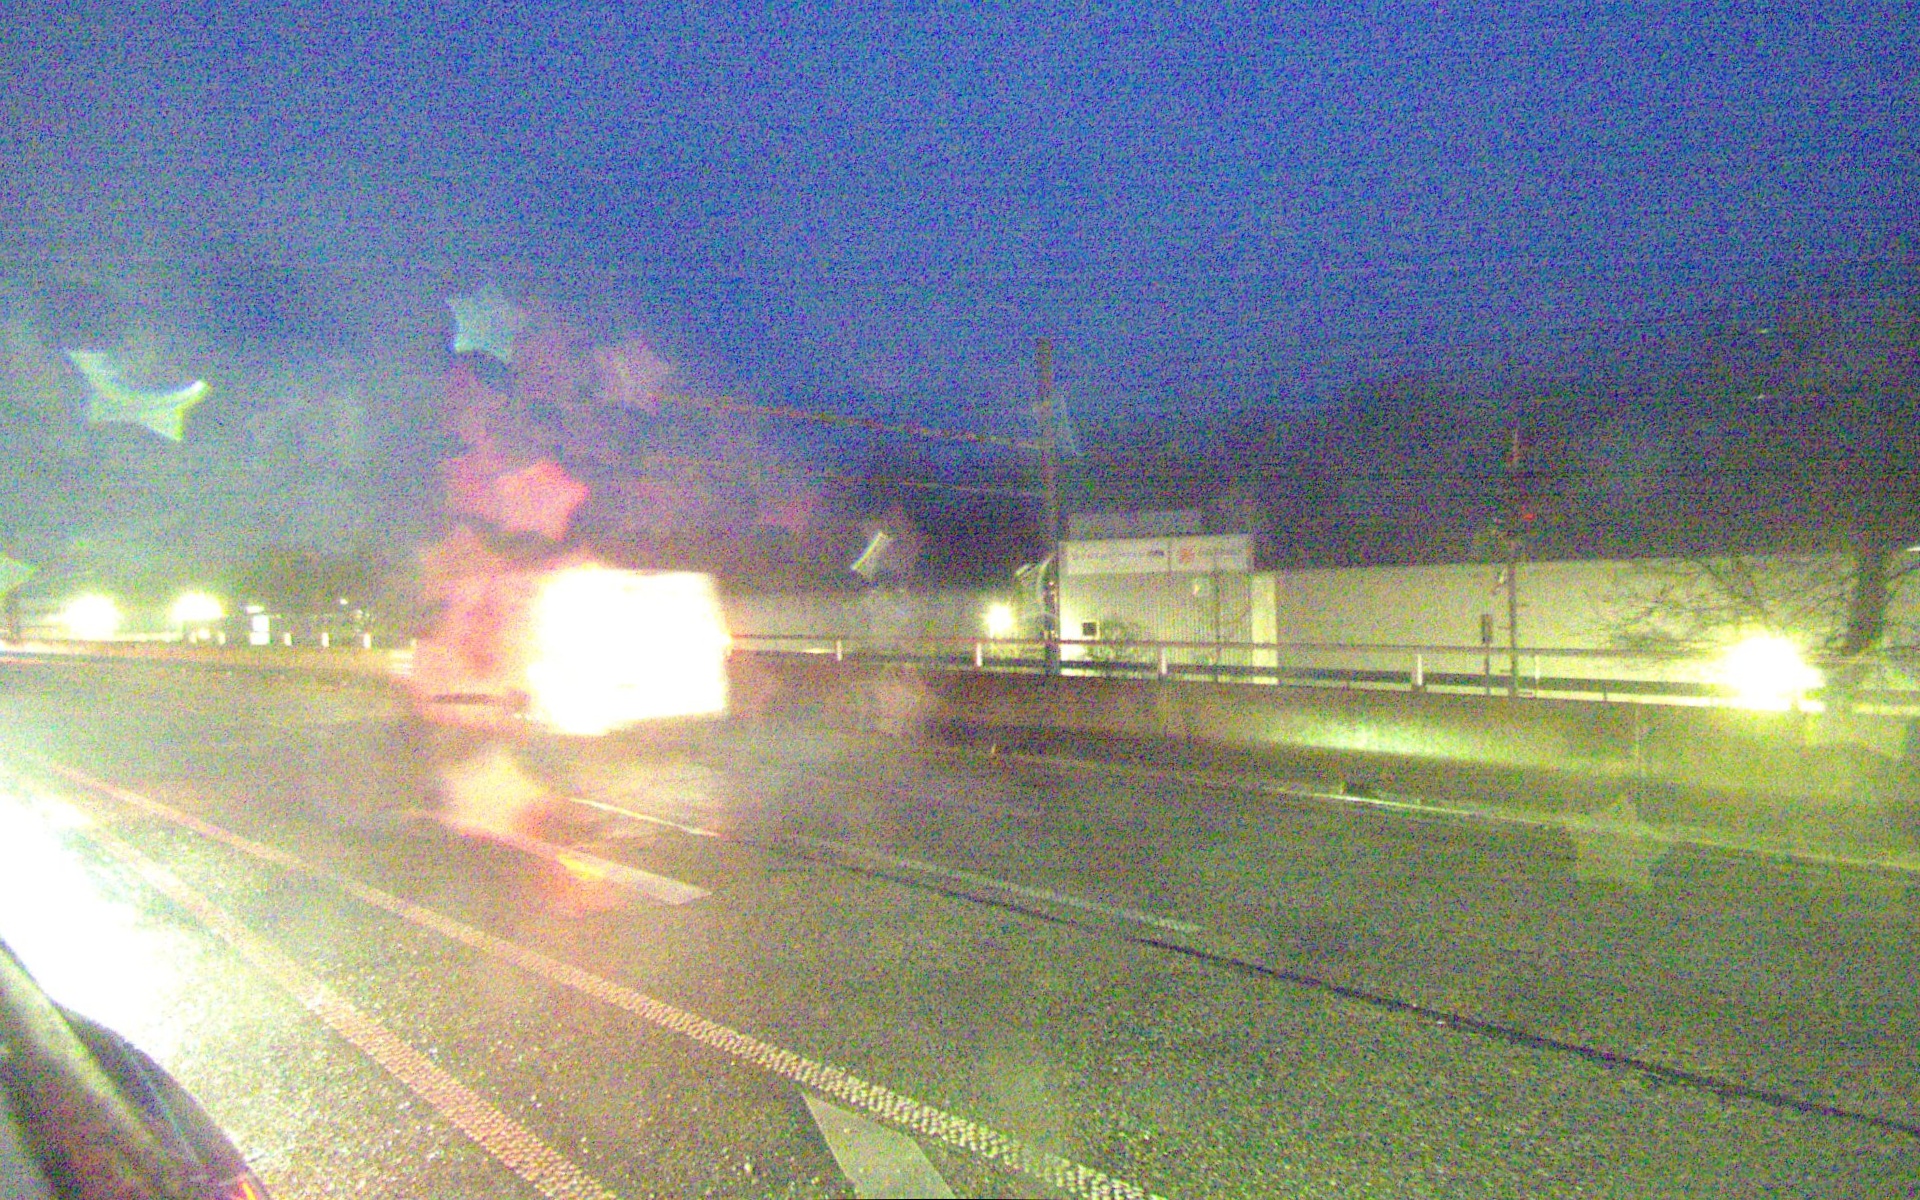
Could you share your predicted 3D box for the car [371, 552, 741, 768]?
[{"bbox_3d":[-4.864,0.644,11.852,4.710,2.029,2.063,-2,-2,40],"label":"car"}]
